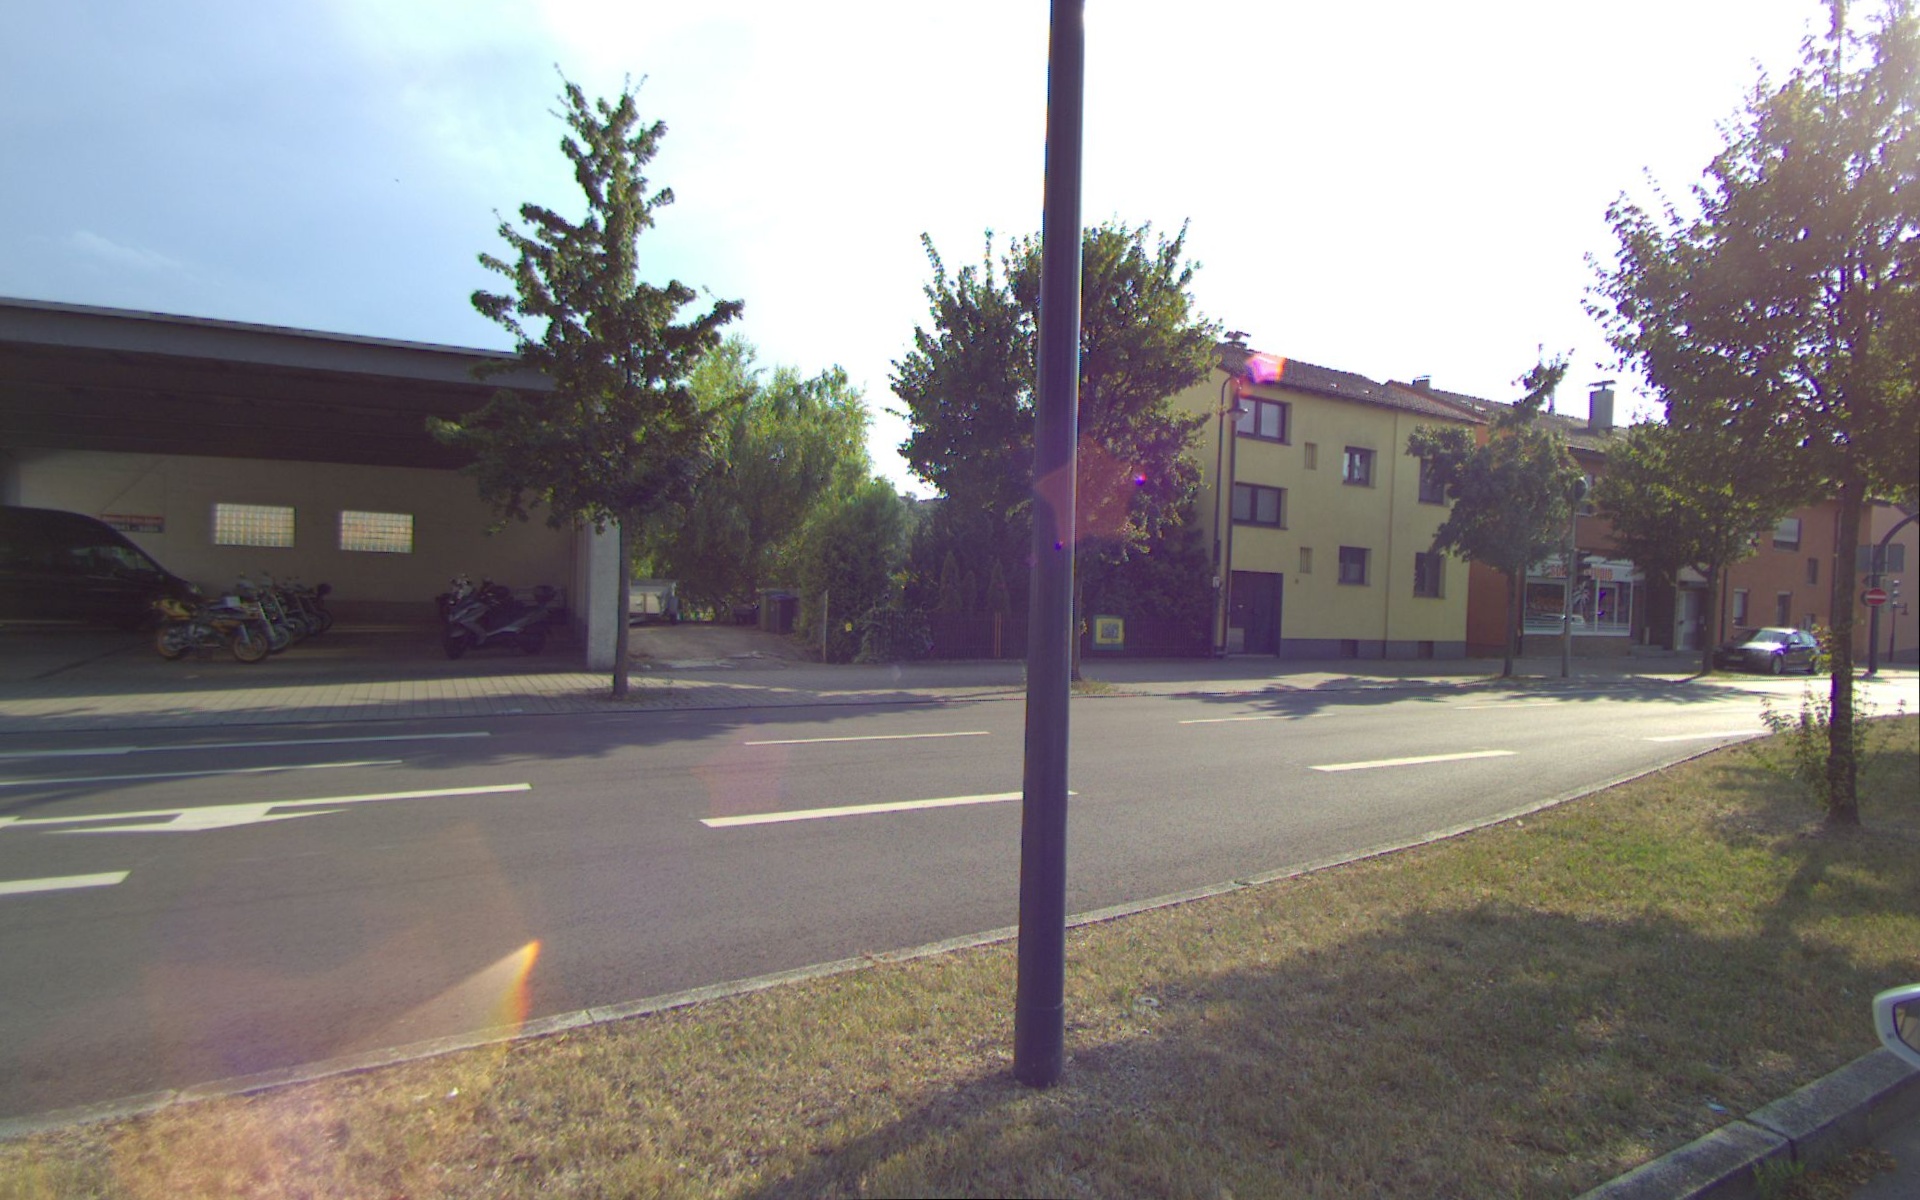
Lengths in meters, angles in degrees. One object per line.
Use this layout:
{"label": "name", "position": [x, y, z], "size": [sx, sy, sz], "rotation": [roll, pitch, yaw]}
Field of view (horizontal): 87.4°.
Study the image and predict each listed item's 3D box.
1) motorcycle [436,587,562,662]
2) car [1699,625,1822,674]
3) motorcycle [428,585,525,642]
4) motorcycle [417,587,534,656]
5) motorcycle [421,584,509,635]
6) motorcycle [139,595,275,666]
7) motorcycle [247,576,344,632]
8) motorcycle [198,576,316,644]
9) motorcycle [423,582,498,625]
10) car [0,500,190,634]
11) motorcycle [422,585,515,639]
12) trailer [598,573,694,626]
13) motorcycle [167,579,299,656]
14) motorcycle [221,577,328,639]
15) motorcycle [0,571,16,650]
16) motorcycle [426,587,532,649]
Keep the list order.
{"label": "motorcycle", "position": [-8.629, 0.425, 18.895], "size": [0.621, 1.314, 2.113], "rotation": [1, 2, 36]}
{"label": "car", "position": [25.959, 1.594, 32.552], "size": [3.953, 1.319, 1.728], "rotation": [1, 4, -30]}
{"label": "motorcycle", "position": [-11.777, 0.305, 24.535], "size": [0.621, 1.314, 2.113], "rotation": [1, 2, 36]}
{"label": "motorcycle", "position": [-9.823, 0.396, 20.457], "size": [0.621, 1.314, 2.113], "rotation": [1, 2, 36]}
{"label": "motorcycle", "position": [-13.523, 0.233, 27.516], "size": [0.621, 1.314, 2.113], "rotation": [1, 2, 36]}
{"label": "motorcycle", "position": [-12.507, 0.498, 16.695], "size": [1.993, 1.101, 0.631], "rotation": [1, 0, 12]}
{"label": "motorcycle", "position": [-16.919, 0.095, 25.571], "size": [2.219, 1.354, 0.631], "rotation": [1, 0, 10]}
{"label": "motorcycle", "position": [-14.763, 0.198, 21.103], "size": [2.219, 1.354, 0.631], "rotation": [1, 0, 10]}
{"label": "motorcycle", "position": [-15.969, 0.093, 32.175], "size": [0.621, 1.314, 2.113], "rotation": [1, 2, 36]}
{"label": "car", "position": [-20.463, -0.689, 22.089], "size": [1.962, 2.789, 5.280], "rotation": [1, 0, 26]}
{"label": "motorcycle", "position": [-12.659, 0.285, 25.918], "size": [0.621, 1.314, 2.113], "rotation": [1, 2, 36]}
{"label": "trailer", "position": [-8.227, -0.013, 26.615], "size": [1.698, 1.280, 3.995], "rotation": [1, 0, -7]}
{"label": "motorcycle", "position": [-13.643, 0.313, 18.860], "size": [2.219, 1.354, 0.631], "rotation": [1, 0, 10]}
{"label": "motorcycle", "position": [-15.895, 0.175, 23.312], "size": [2.219, 1.354, 0.631], "rotation": [1, 0, 10]}
{"label": "motorcycle", "position": [-17.298, 0.162, 16.722], "size": [0.619, 1.380, 2.225], "rotation": [1, 0, 24]}
{"label": "motorcycle", "position": [-10.752, 0.378, 22.535], "size": [0.621, 1.314, 2.113], "rotation": [1, 2, 36]}
